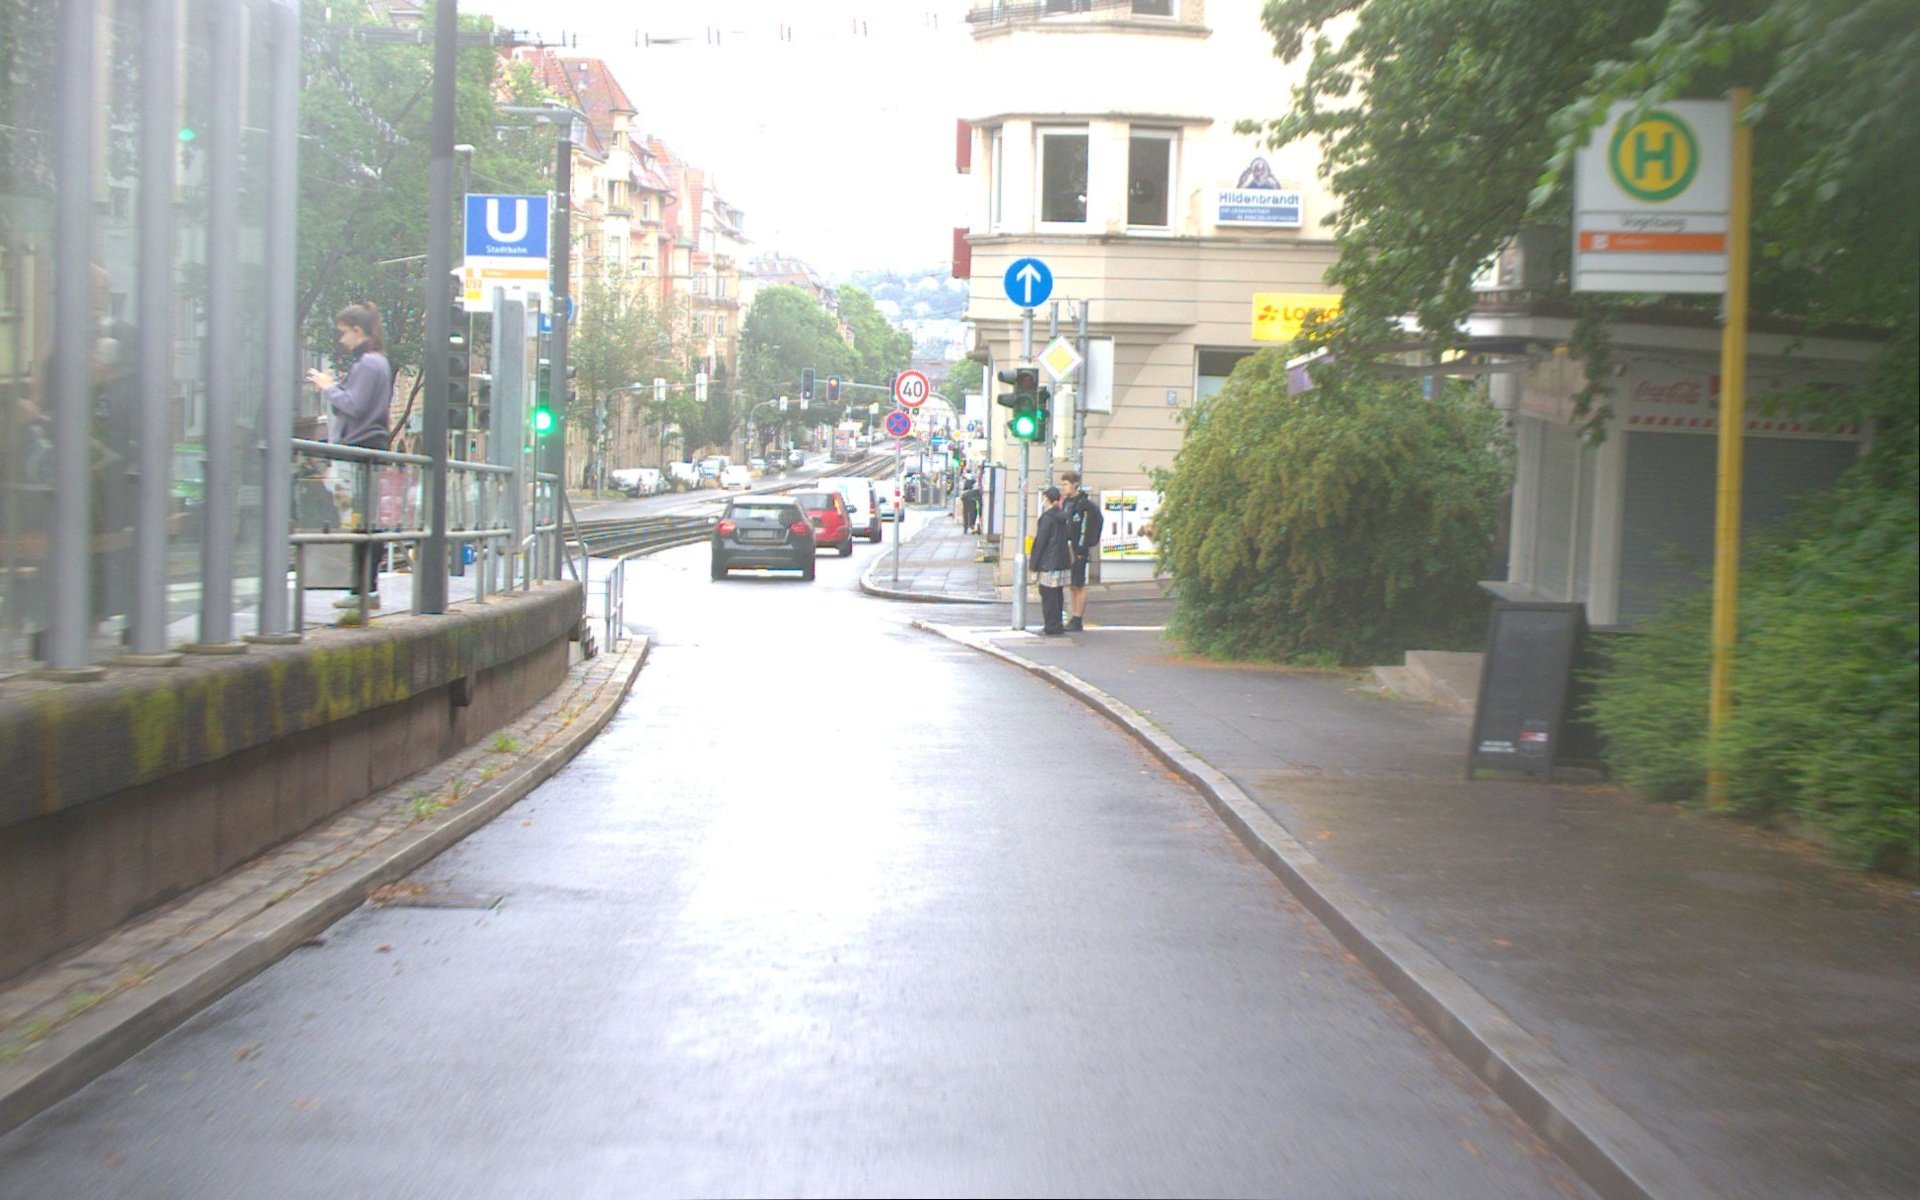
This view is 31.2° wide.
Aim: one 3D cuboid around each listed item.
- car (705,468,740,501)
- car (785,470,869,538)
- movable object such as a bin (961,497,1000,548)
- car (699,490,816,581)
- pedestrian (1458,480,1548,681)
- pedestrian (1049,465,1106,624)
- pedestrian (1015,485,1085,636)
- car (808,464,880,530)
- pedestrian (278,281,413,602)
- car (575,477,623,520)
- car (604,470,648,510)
[{"bbox_3d":[-15.219,-7.408,220.551,1.993,2.006,4.347,1,2,-1],"label":"car"},{"bbox_3d":[-3.051,-2.195,79.361,1.851,1.468,4.000,2,1,-2],"label":"car"},{"bbox_3d":[0.644,-2.504,111.063,1.167,1.649,1.309,0,2,-4],"label":"movable object such as a bin"},{"bbox_3d":[-3.480,-1.140,59.569,1.851,1.468,4.001,1,2,-1],"label":"car"},{"bbox_3d":[4.806,-0.177,30.433,0.602,1.739,0.614,3,1,-1],"label":"pedestrian"},{"bbox_3d":[1.355,-0.641,39.746,0.554,1.807,0.651,2,1,-3],"label":"pedestrian"},{"bbox_3d":[1.024,-0.452,39.122,0.695,1.689,0.555,2,1,-2],"label":"pedestrian"},{"bbox_3d":[-3.340,-2.950,98.998,1.948,1.786,4.145,2,1,-2],"label":"car"},{"bbox_3d":[-3.551,-0.906,19.894,0.589,1.801,0.661,3,1,-1],"label":"pedestrian"},{"bbox_3d":[-17.715,-4.976,168.945,1.993,2.007,4.347,0,1,-1],"label":"car"},{"bbox_3d":[-17.362,-5.702,178.961,1.993,2.007,4.347,0,1,-1],"label":"car"}]
